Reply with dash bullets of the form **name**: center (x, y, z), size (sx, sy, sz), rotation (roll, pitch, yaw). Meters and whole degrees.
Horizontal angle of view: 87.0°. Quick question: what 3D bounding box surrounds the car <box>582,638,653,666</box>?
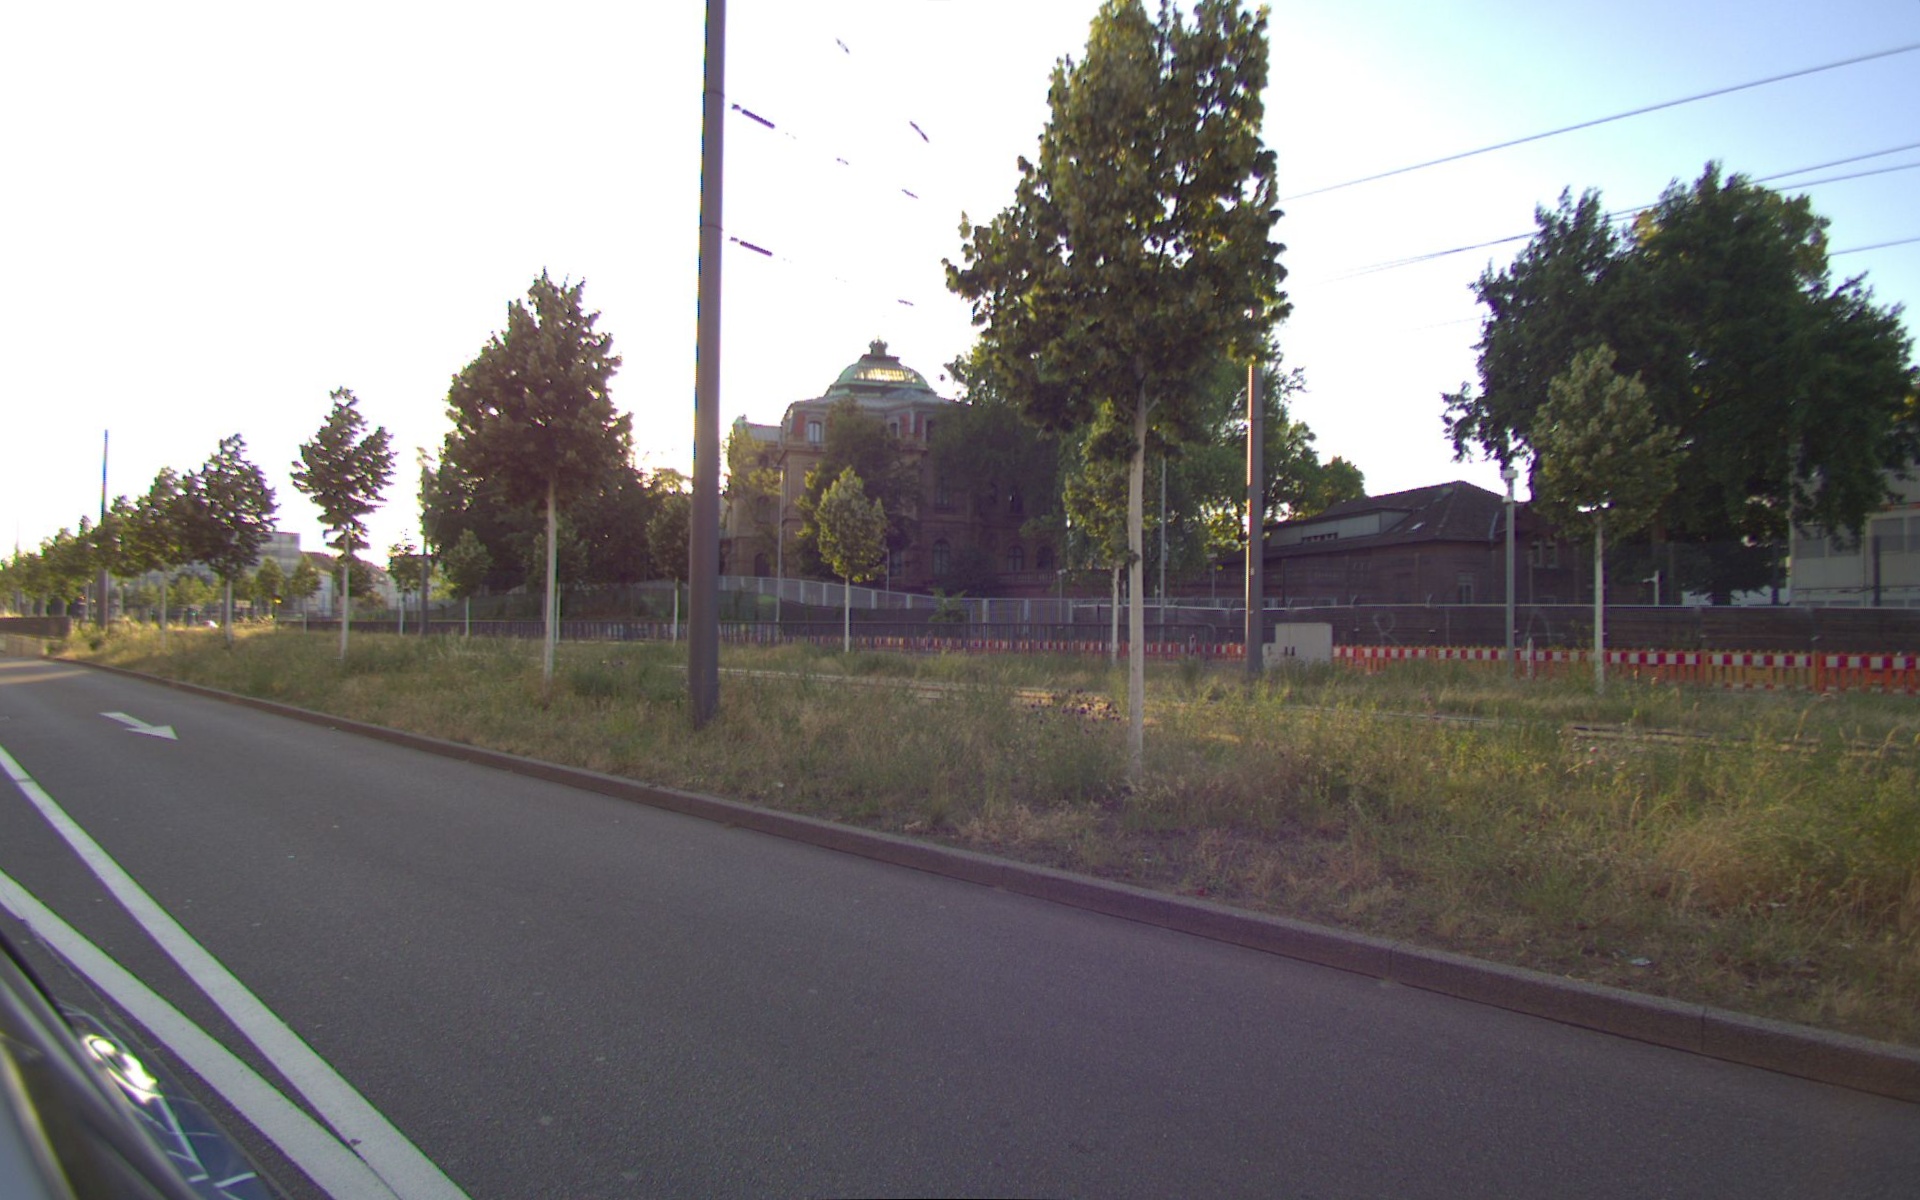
- **car**: center (-19.712, 2.996, 58.137), size (4.521, 1.492, 1.911), rotation (-3, -2, 42)
